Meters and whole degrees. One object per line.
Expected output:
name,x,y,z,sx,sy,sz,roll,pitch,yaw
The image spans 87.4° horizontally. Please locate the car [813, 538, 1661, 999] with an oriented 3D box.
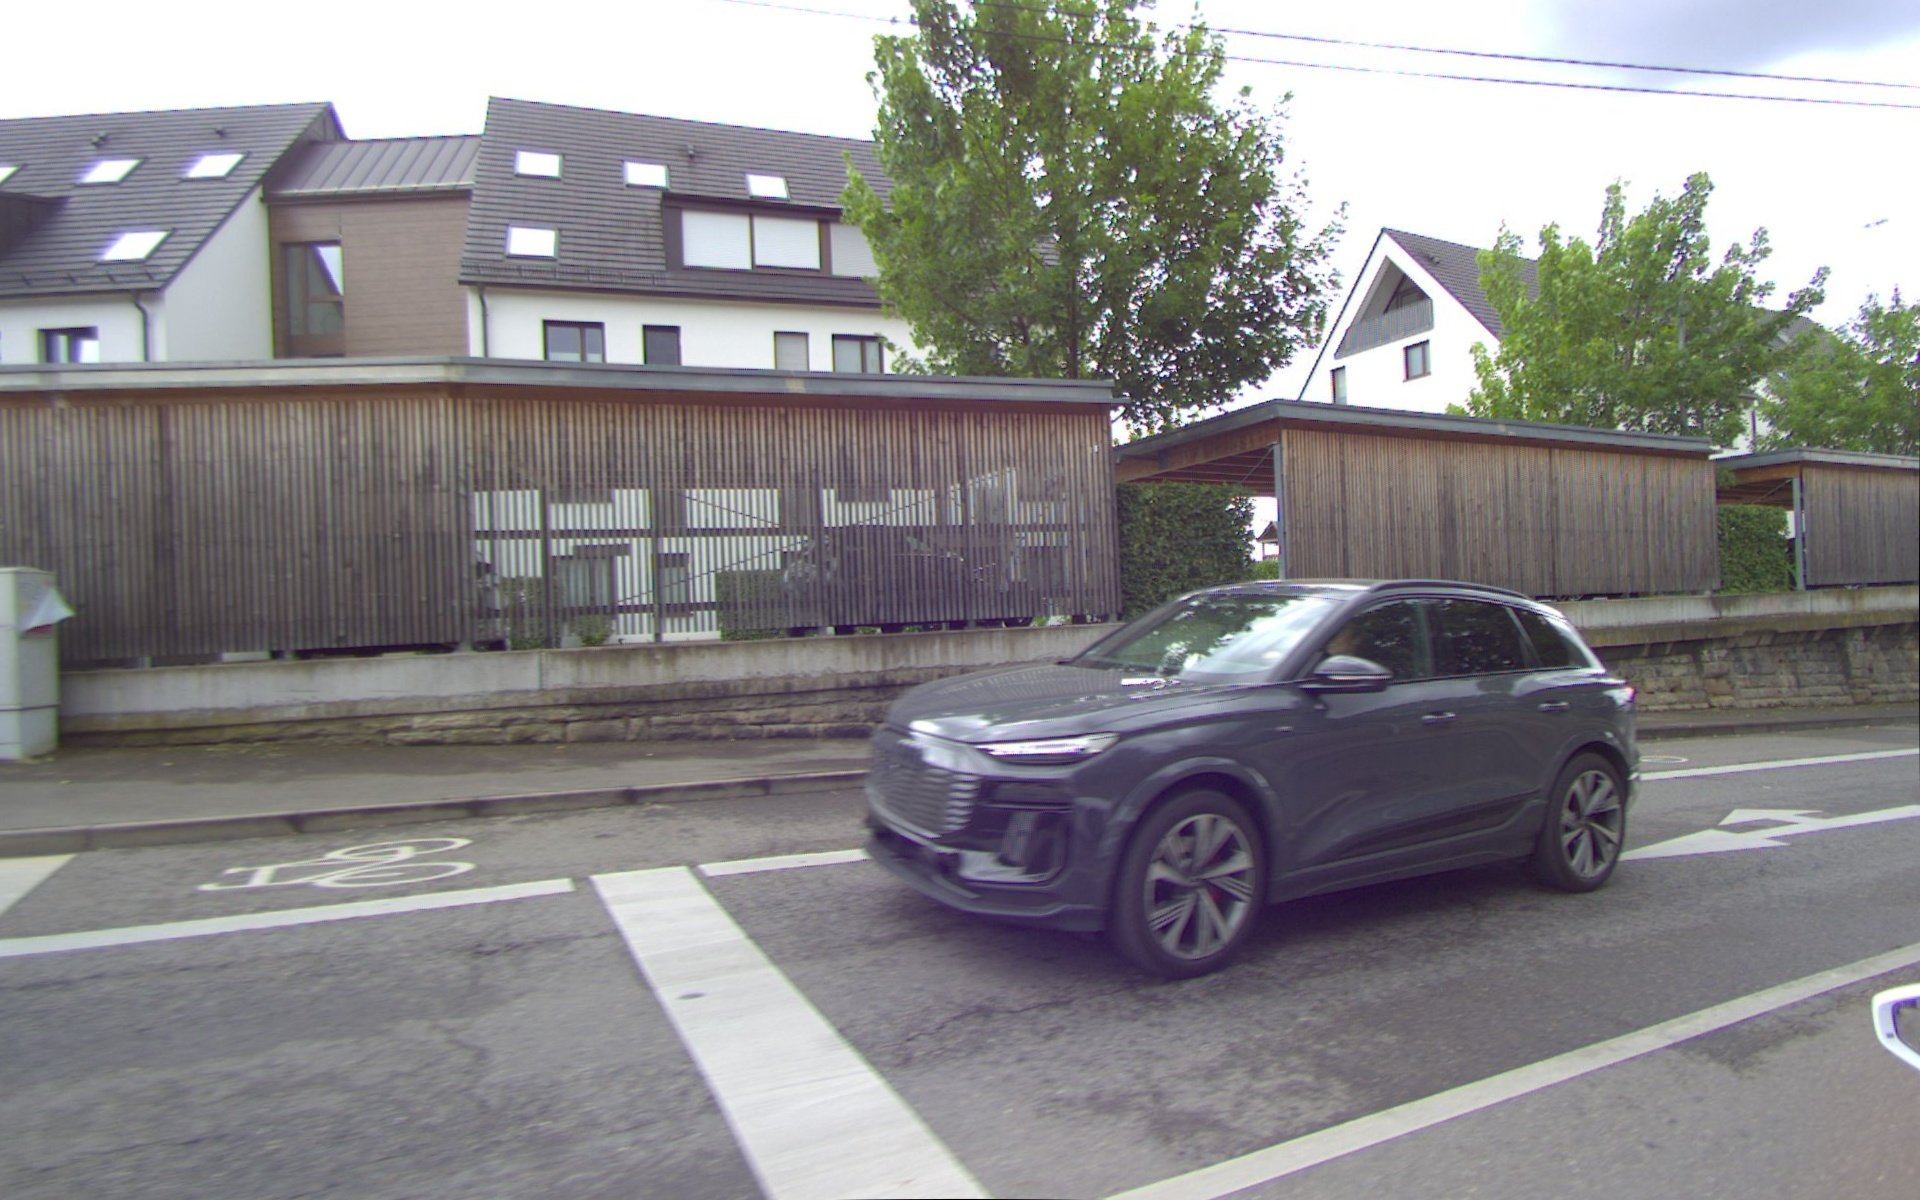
car,1.645,0.676,5.551,4.468,1.651,1.913,2,-1,-29
